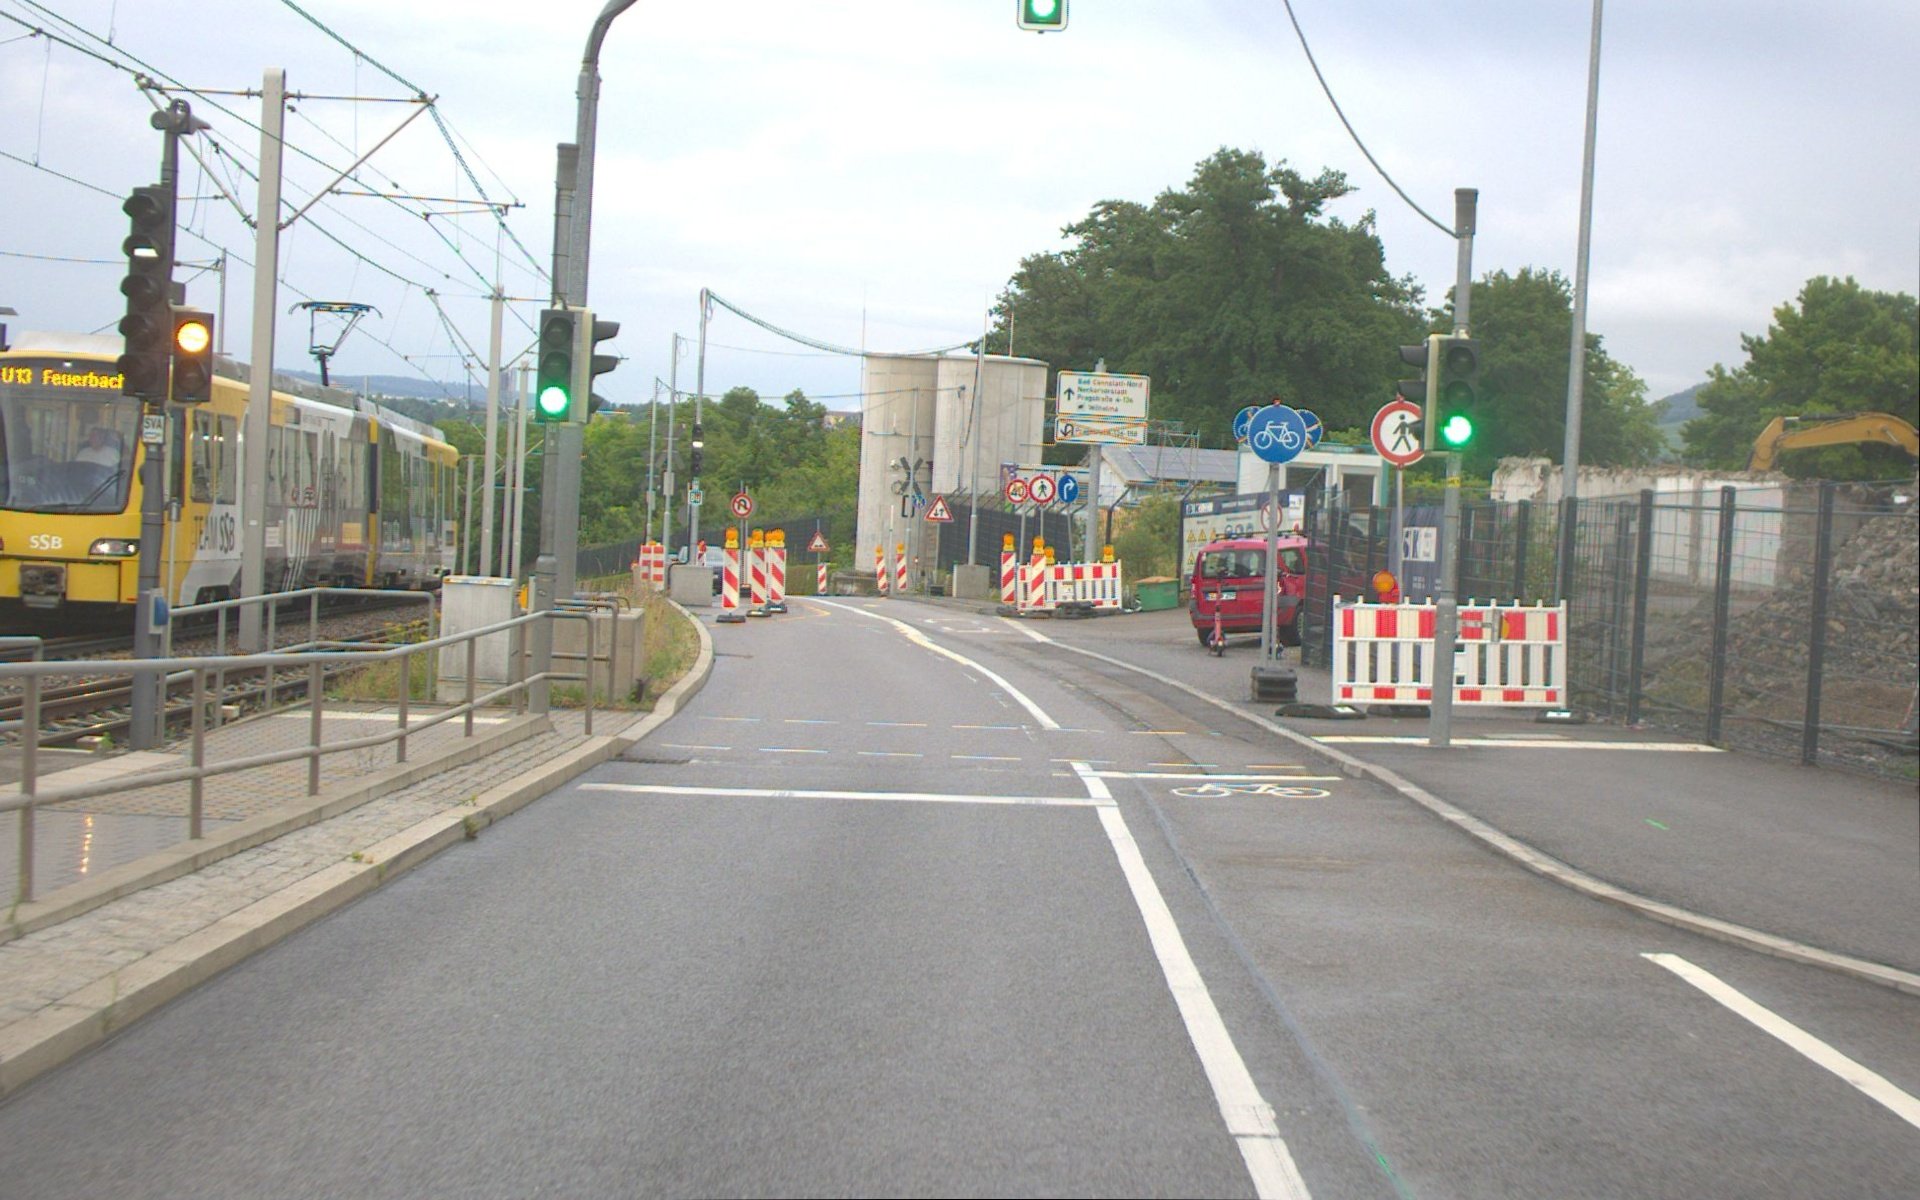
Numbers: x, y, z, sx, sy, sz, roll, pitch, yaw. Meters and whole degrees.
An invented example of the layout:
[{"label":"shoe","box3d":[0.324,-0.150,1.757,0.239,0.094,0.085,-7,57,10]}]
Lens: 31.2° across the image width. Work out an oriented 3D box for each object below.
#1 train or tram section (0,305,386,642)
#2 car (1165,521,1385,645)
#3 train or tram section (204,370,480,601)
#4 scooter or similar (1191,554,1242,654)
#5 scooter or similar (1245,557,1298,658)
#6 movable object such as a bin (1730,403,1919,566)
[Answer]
[{"label":"train or tram section","box3d":[-11.274,-1.706,50.459,2.955,3.872,19.575,3,1,-2]},{"label":"car","box3d":[4.982,-0.263,53.831,1.822,1.787,4.402,3,1,28]},{"label":"train or tram section","box3d":[-12.169,-2.189,69.874,2.955,3.872,19.294,3,1,-3]},{"label":"scooter or similar","box3d":[3.596,0.046,48.326,0.615,1.346,1.912,2,1,3]},{"label":"scooter or similar","box3d":[4.350,0.095,48.144,0.615,1.346,1.912,2,1,3]},{"label":"movable object such as a bin","box3d":[35.624,-4.336,132.063,11.233,5.975,3.490,2,0,5]}]
